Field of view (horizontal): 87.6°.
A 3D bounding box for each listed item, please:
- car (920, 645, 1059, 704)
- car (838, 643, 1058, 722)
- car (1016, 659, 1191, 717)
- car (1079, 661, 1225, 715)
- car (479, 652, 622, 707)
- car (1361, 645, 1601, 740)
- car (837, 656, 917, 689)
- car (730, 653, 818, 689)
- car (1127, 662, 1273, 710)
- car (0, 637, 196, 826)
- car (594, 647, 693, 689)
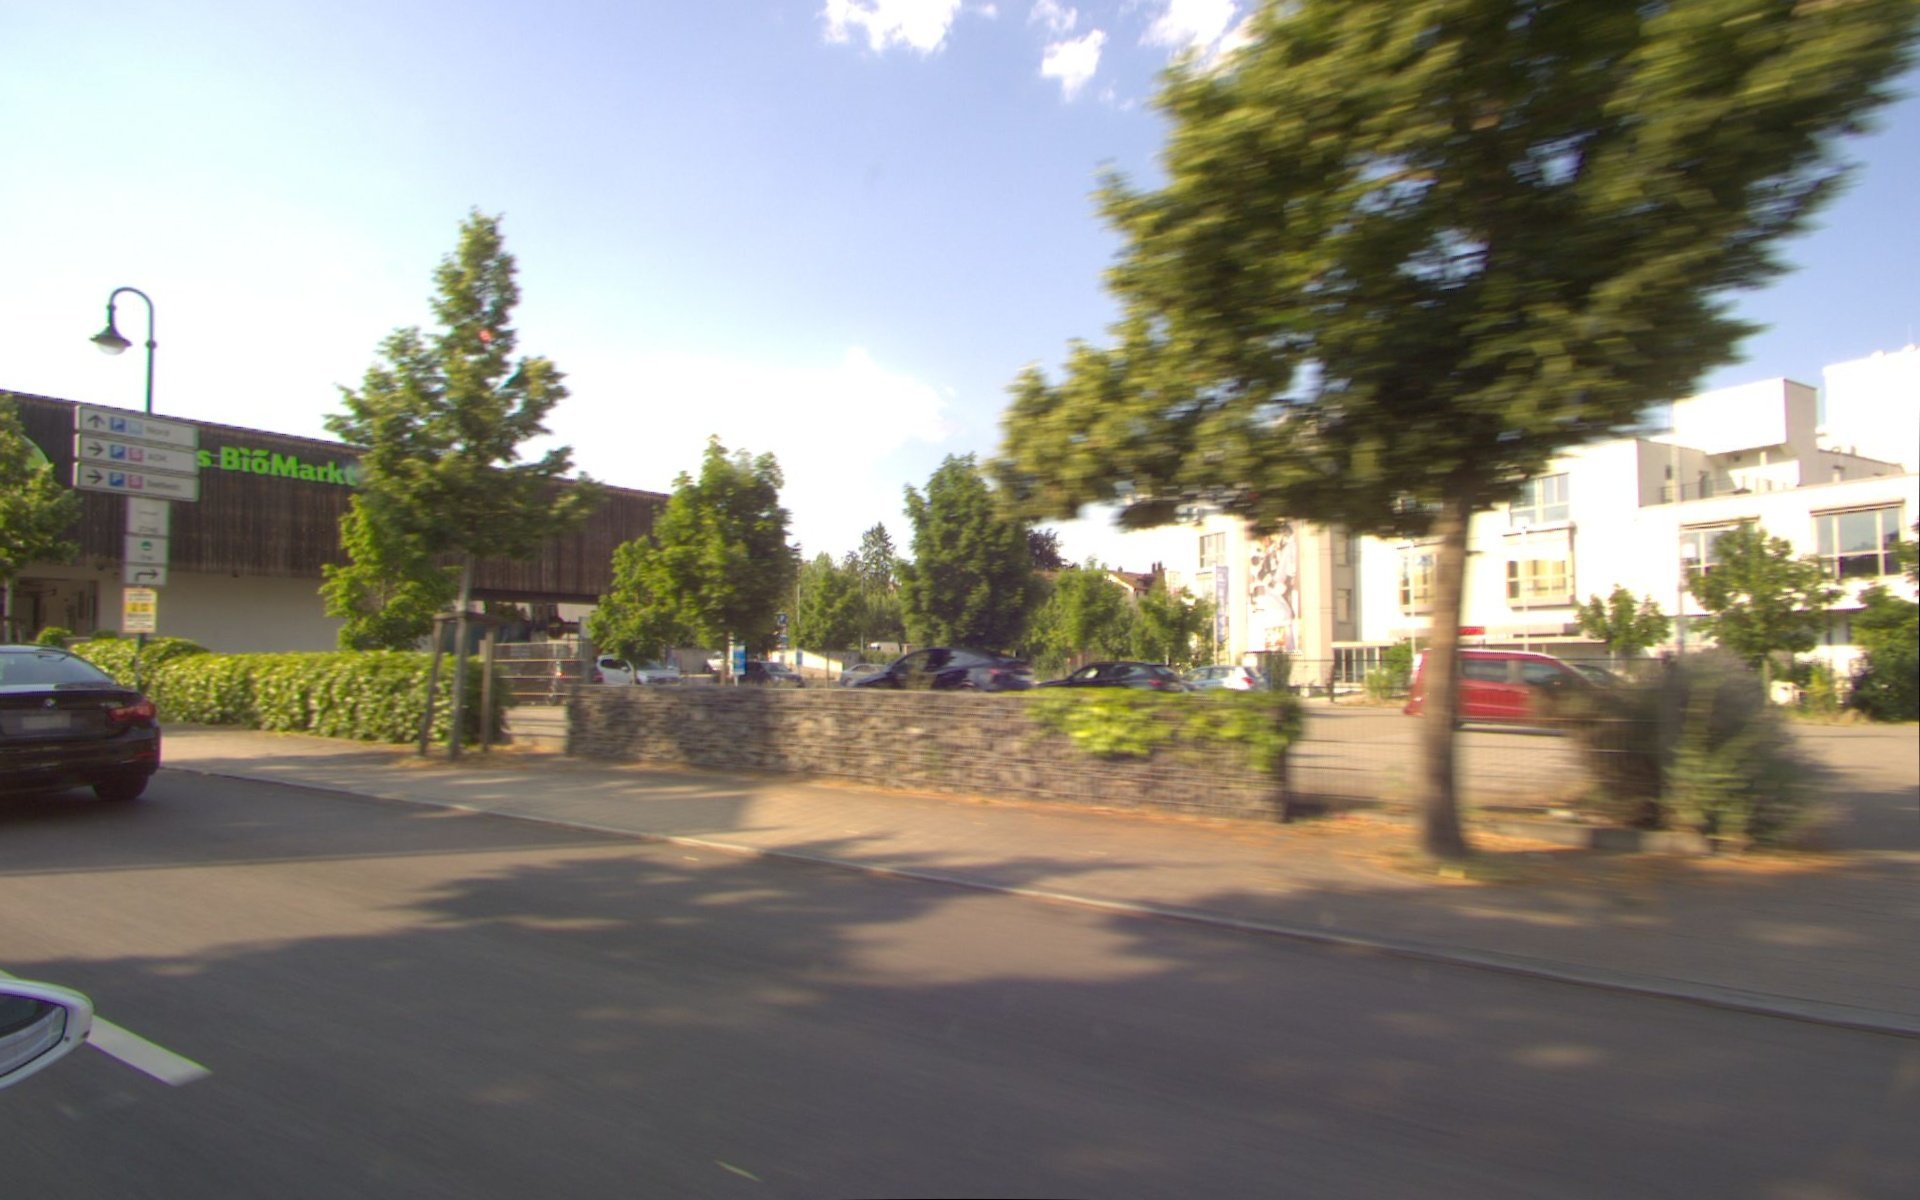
[{"bbox_3d":[0.925,2.436,32.939,4.263,1.743,1.884,-1,-5,39],"label":"car"},{"bbox_3d":[-0.299,1.789,22.107,4.484,1.550,1.992,-1,-5,33],"label":"car"},{"bbox_3d":[4.032,2.427,28.340,4.484,1.461,1.990,-1,-3,33],"label":"car"},{"bbox_3d":[5.786,2.601,30.257,3.897,1.461,1.990,-1,-3,33],"label":"car"},{"bbox_3d":[-13.003,2.471,31.738,4.484,1.558,1.990,-1,-3,33],"label":"car"},{"bbox_3d":[11.561,1.986,22.348,4.583,1.877,1.990,-1,-3,34],"label":"car"},{"bbox_3d":[-4.429,3.833,53.449,3.948,1.648,1.988,-1,-3,37],"label":"car"},{"bbox_3d":[-8.866,3.346,47.612,3.948,1.570,1.988,-1,-3,37],"label":"car"},{"bbox_3d":[8.161,2.901,34.146,4.484,1.461,1.870,-1,-3,33],"label":"car"},{"bbox_3d":[-8.748,1.013,8.680,4.288,1.381,1.918,-1,-2,31],"label":"car"},{"bbox_3d":[-13.159,2.795,41.593,3.948,1.648,1.988,-1,-3,37],"label":"car"}]
